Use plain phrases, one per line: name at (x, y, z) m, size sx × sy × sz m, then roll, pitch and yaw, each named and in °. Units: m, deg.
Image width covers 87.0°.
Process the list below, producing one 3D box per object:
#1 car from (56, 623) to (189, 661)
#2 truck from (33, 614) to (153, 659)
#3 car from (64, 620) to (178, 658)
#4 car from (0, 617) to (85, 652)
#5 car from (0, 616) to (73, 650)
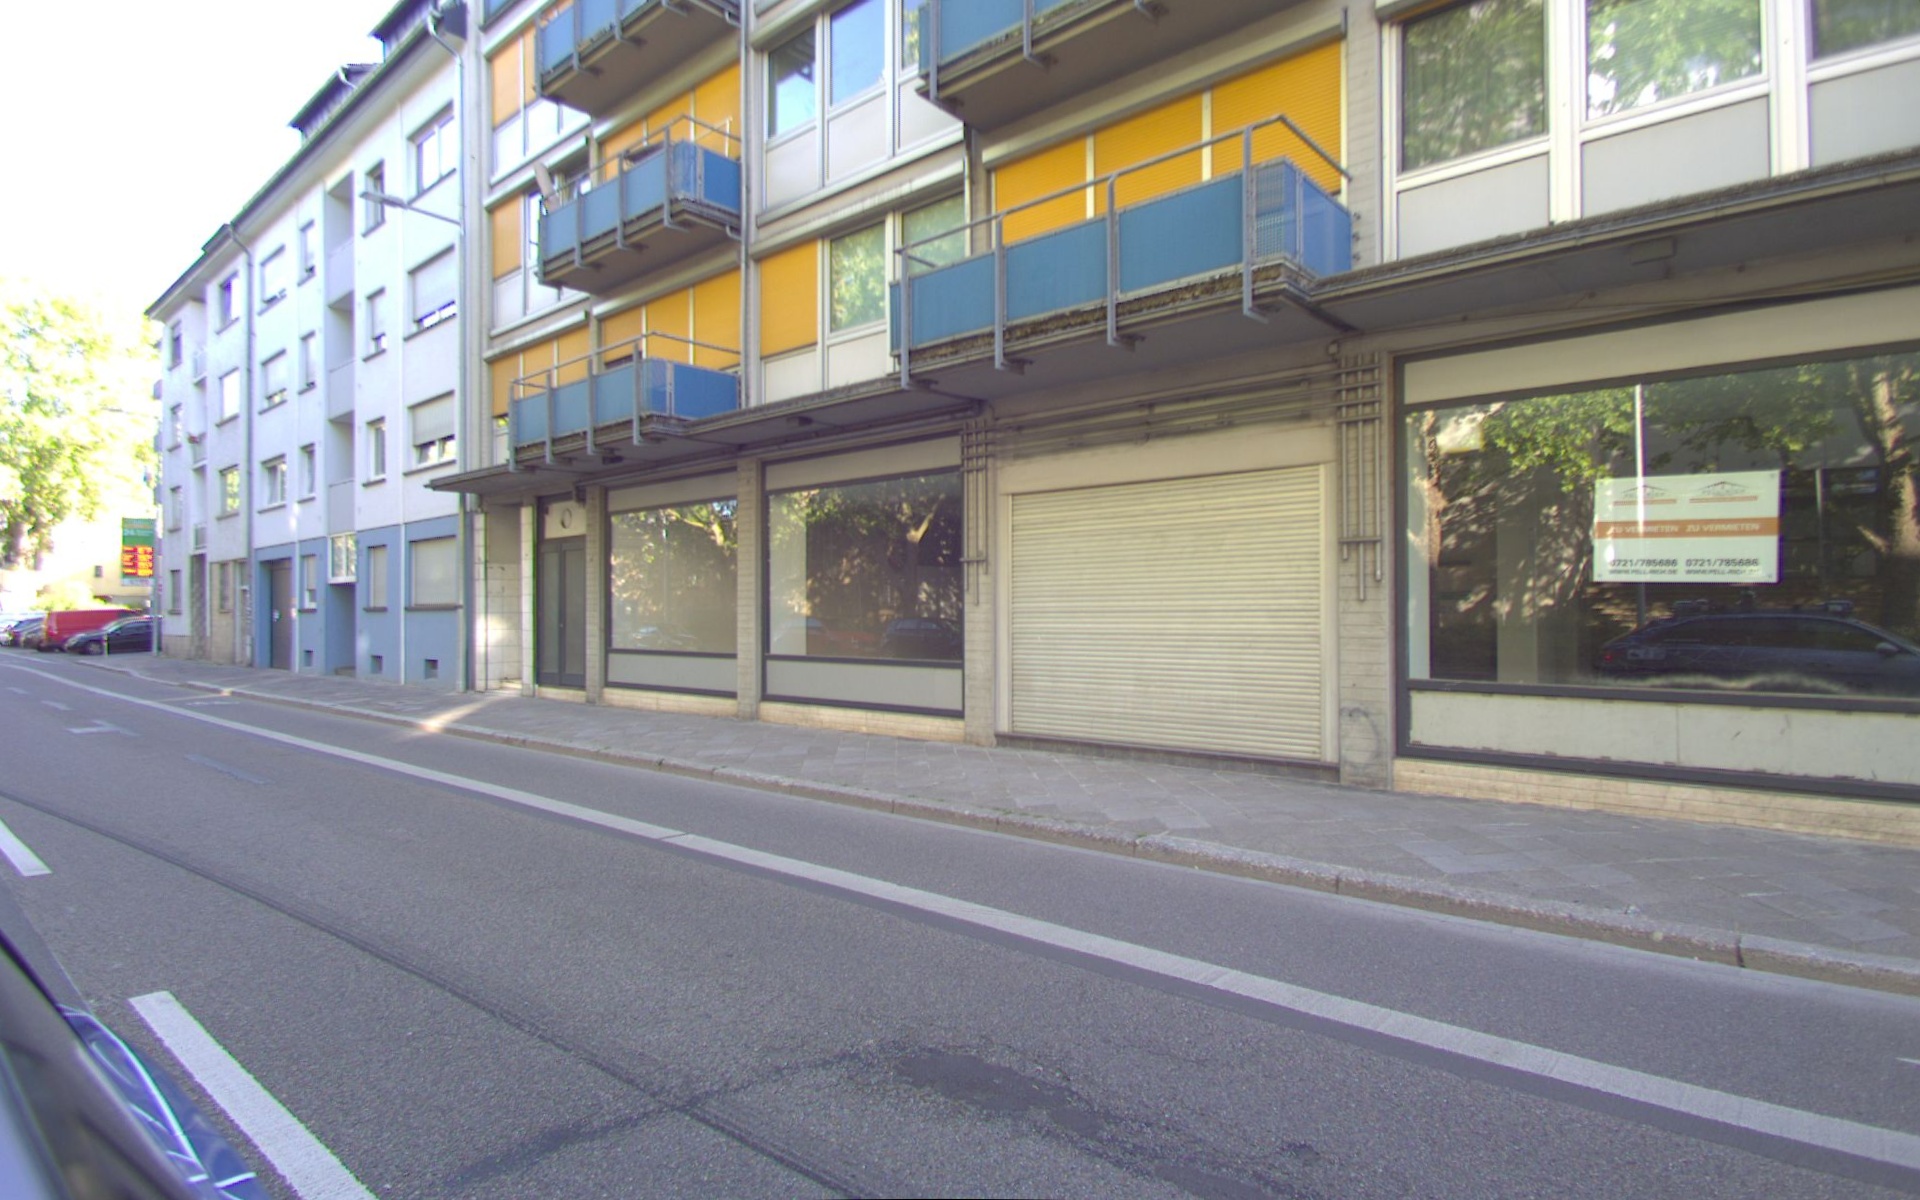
car at (-36.480, 1.792, 44.162) m, size 1.657 × 1.417 × 4.269 m, roll -1°, pitch 0°, yaw 40°
truck at (-40.709, 1.647, 47.579) m, size 1.999 × 1.939 × 4.040 m, roll -1°, pitch 0°, yaw 40°
car at (-38.031, 1.729, 45.945) m, size 1.657 × 1.583 × 3.762 m, roll -1°, pitch 0°, yaw 41°
car at (-56.044, 2.065, 61.476) m, size 2.000 × 1.971 × 4.180 m, roll -1°, pitch 0°, yaw 43°
car at (-59.327, 2.093, 64.406) m, size 2.000 × 2.052 × 4.180 m, roll -1°, pitch 0°, yaw 43°
